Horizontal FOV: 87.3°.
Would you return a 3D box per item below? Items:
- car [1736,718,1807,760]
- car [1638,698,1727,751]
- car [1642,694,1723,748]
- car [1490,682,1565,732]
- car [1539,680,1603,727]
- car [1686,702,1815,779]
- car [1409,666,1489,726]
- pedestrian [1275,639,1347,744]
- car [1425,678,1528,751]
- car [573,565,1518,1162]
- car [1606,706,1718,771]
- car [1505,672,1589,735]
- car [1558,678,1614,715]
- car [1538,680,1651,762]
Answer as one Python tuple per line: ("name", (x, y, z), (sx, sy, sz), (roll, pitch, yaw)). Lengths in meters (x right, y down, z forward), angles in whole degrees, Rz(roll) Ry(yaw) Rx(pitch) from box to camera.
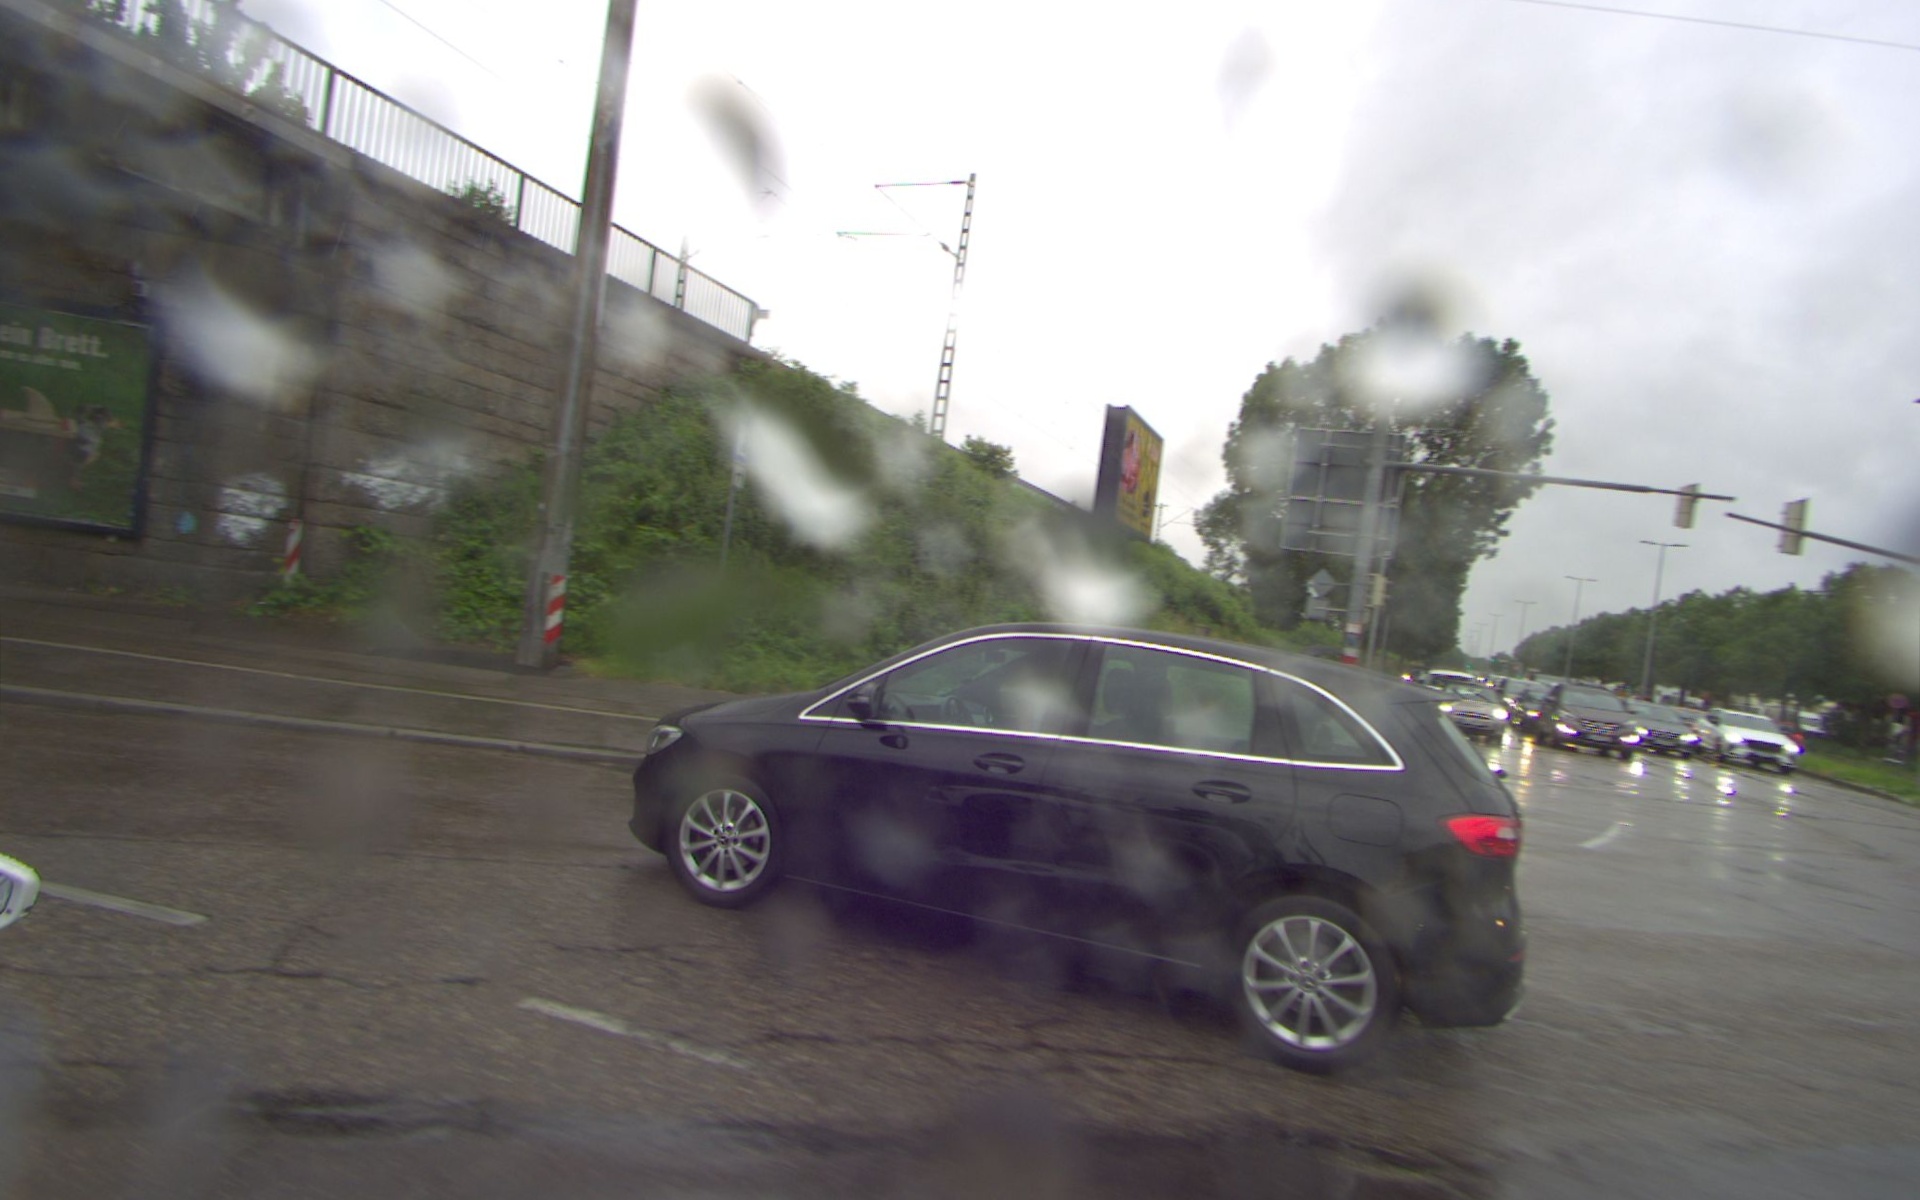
("car", (40.343, 6.896, 50.110), (1.654, 1.509, 3.619), (9, 1, 24))
("car", (27.346, 4.676, 38.234), (1.811, 1.441, 3.997), (8, 1, 24))
("car", (30.056, 4.995, 41.962), (1.575, 1.742, 3.998), (8, 1, 21))
("car", (21.330, 3.997, 37.975), (1.799, 1.375, 3.998), (8, 0, 22))
("car", (28.567, 4.793, 47.153), (1.817, 1.742, 3.997), (8, 1, 24))
("car", (24.857, 4.365, 31.832), (2.138, 1.742, 4.298), (8, 1, 26))
("car", (15.772, 3.042, 32.599), (1.799, 1.501, 3.999), (8, 1, 21))
("pedestrian", (6.426, 1.648, 18.469), (0.986, 1.741, 0.820), (8, 1, 16))
("car", (13.534, 2.939, 26.572), (1.864, 1.366, 3.998), (8, 1, 22))
("car", (0.331, 0.895, 5.026), (4.014, 1.542, 1.874), (8, 1, 26))
("car", (21.692, 4.238, 31.273), (1.799, 1.375, 3.998), (8, 0, 21))
("car", (19.142, 3.321, 32.953), (1.829, 1.630, 3.996), (8, 1, 25))
("car", (37.404, 5.733, 60.240), (1.909, 1.742, 3.998), (8, 1, 21))
("car", (16.958, 3.159, 27.085), (1.993, 1.678, 4.056), (8, 1, 27))
